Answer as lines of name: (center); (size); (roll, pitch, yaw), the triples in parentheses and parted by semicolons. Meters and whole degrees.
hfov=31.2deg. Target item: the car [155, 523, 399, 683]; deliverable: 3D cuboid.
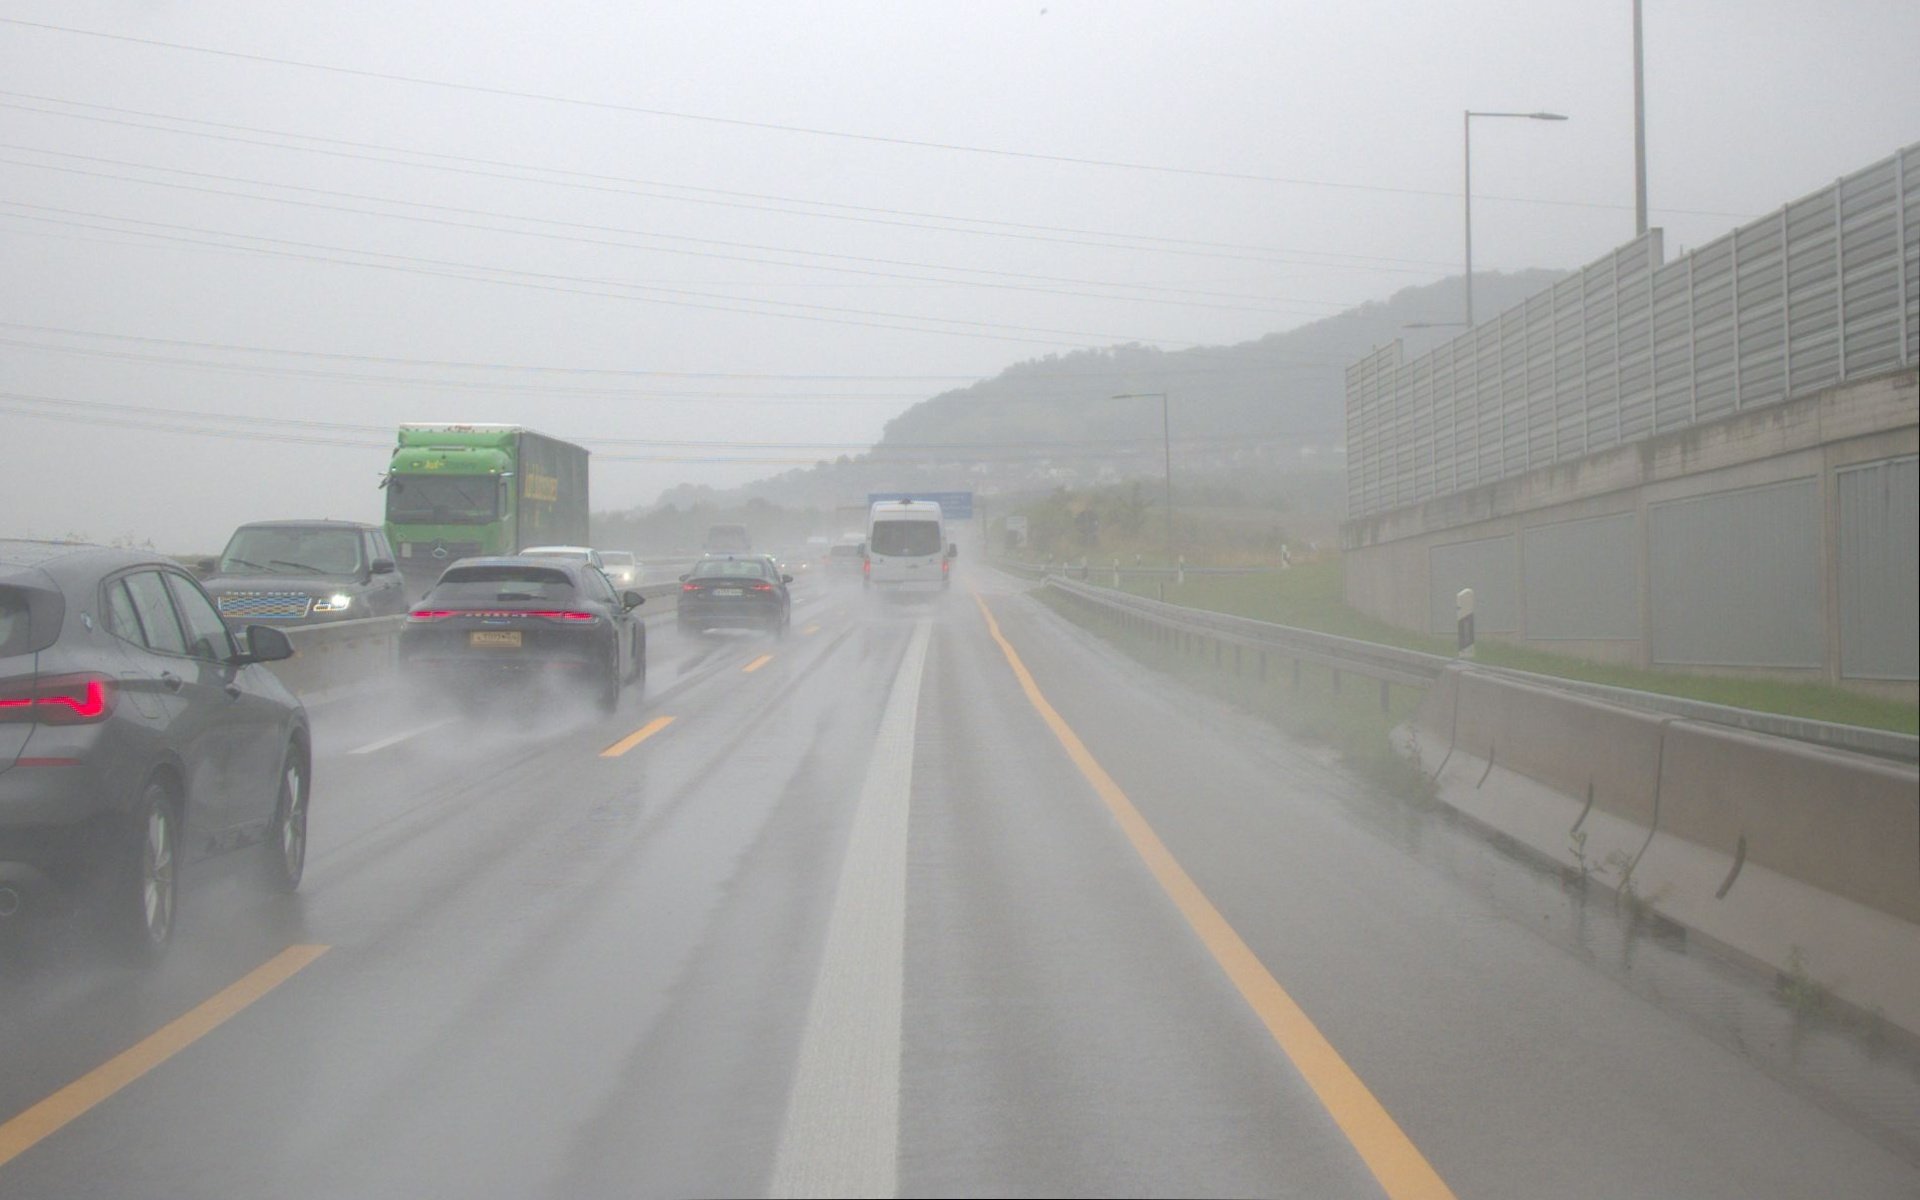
car: (-7.601, -0.001, 38.682); (1.898, 1.681, 4.741); (0, 1, -1)

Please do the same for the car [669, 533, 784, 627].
car: (-4.015, -0.368, 59.031); (1.844, 1.486, 4.262); (-2, 1, -4)

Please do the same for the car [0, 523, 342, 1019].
car: (-3.549, 0.563, 13.450); (1.700, 1.592, 4.846); (1, 0, -4)

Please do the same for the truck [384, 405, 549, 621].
truck: (-10.457, -1.831, 73.380); (2.608, 4.373, 6.290); (1, 1, 0)

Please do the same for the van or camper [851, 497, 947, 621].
van or camper: (-1.443, -0.908, 79.798); (1.996, 2.768, 4.050); (1, -1, -4)

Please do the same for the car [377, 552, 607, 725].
car: (-4.298, 0.355, 32.115); (1.844, 1.486, 4.262); (1, 0, -4)

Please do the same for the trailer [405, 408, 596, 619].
trailer: (-10.452, -1.944, 79.673); (2.581, 4.442, 13.553); (1, 1, 0)
